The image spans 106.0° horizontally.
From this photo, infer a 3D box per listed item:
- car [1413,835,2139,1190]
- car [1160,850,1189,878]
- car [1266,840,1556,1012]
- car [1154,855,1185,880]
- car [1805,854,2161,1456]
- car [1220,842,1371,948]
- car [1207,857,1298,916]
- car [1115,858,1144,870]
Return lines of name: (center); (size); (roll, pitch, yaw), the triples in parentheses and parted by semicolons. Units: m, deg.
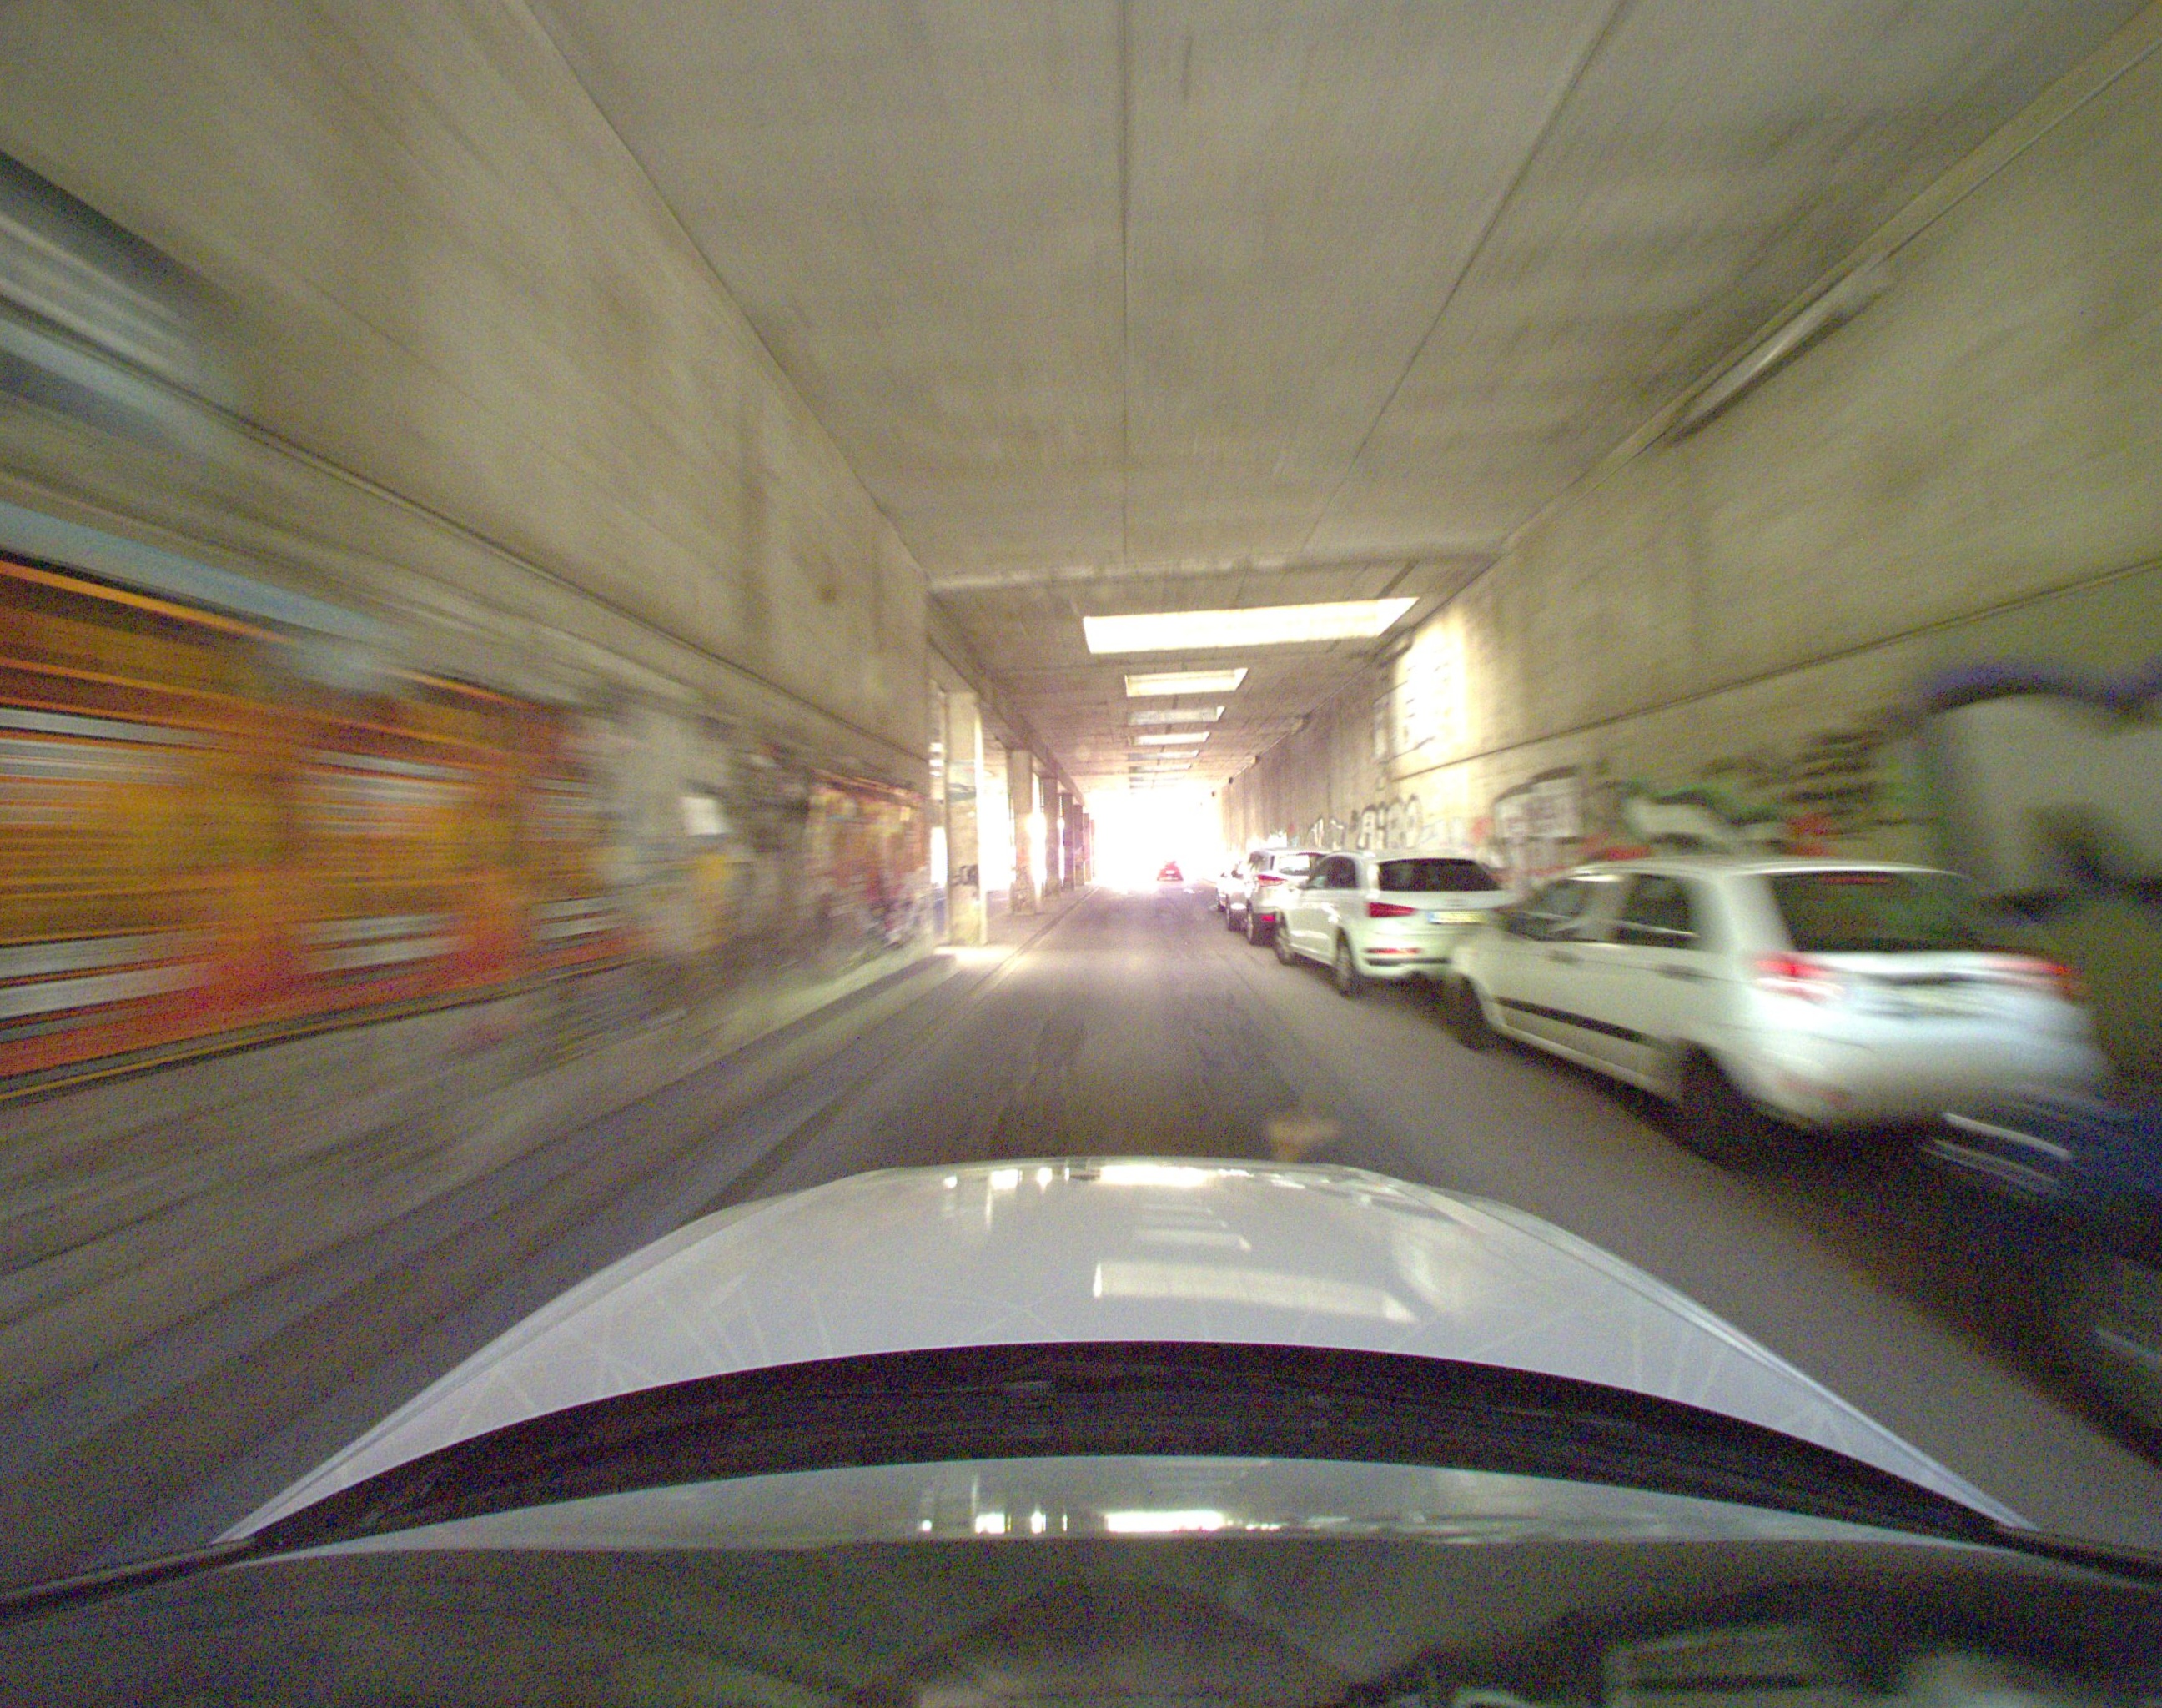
car: (3.787, 0.710, 5.376); (1.599, 1.487, 3.635); (-2, -1, -1)
car: (6.767, 0.696, 59.493); (1.807, 1.882, 4.590); (-2, 0, 3)
car: (3.544, 0.699, 9.657); (1.724, 1.546, 4.155); (-2, -1, 0)
car: (5.745, 0.876, 53.309); (1.818, 1.501, 4.216); (-2, 0, 4)
car: (3.384, 0.687, 0.827); (1.754, 1.411, 4.065); (-2, -1, 2)
car: (3.816, 0.645, 15.272); (1.845, 1.666, 4.374); (-1, 0, 3)
car: (4.468, 0.794, 21.769); (1.694, 1.374, 4.376); (-1, 0, 3)
car: (6.927, 1.472, 116.073); (3.965, 1.574, 1.643); (-2, -1, 7)
